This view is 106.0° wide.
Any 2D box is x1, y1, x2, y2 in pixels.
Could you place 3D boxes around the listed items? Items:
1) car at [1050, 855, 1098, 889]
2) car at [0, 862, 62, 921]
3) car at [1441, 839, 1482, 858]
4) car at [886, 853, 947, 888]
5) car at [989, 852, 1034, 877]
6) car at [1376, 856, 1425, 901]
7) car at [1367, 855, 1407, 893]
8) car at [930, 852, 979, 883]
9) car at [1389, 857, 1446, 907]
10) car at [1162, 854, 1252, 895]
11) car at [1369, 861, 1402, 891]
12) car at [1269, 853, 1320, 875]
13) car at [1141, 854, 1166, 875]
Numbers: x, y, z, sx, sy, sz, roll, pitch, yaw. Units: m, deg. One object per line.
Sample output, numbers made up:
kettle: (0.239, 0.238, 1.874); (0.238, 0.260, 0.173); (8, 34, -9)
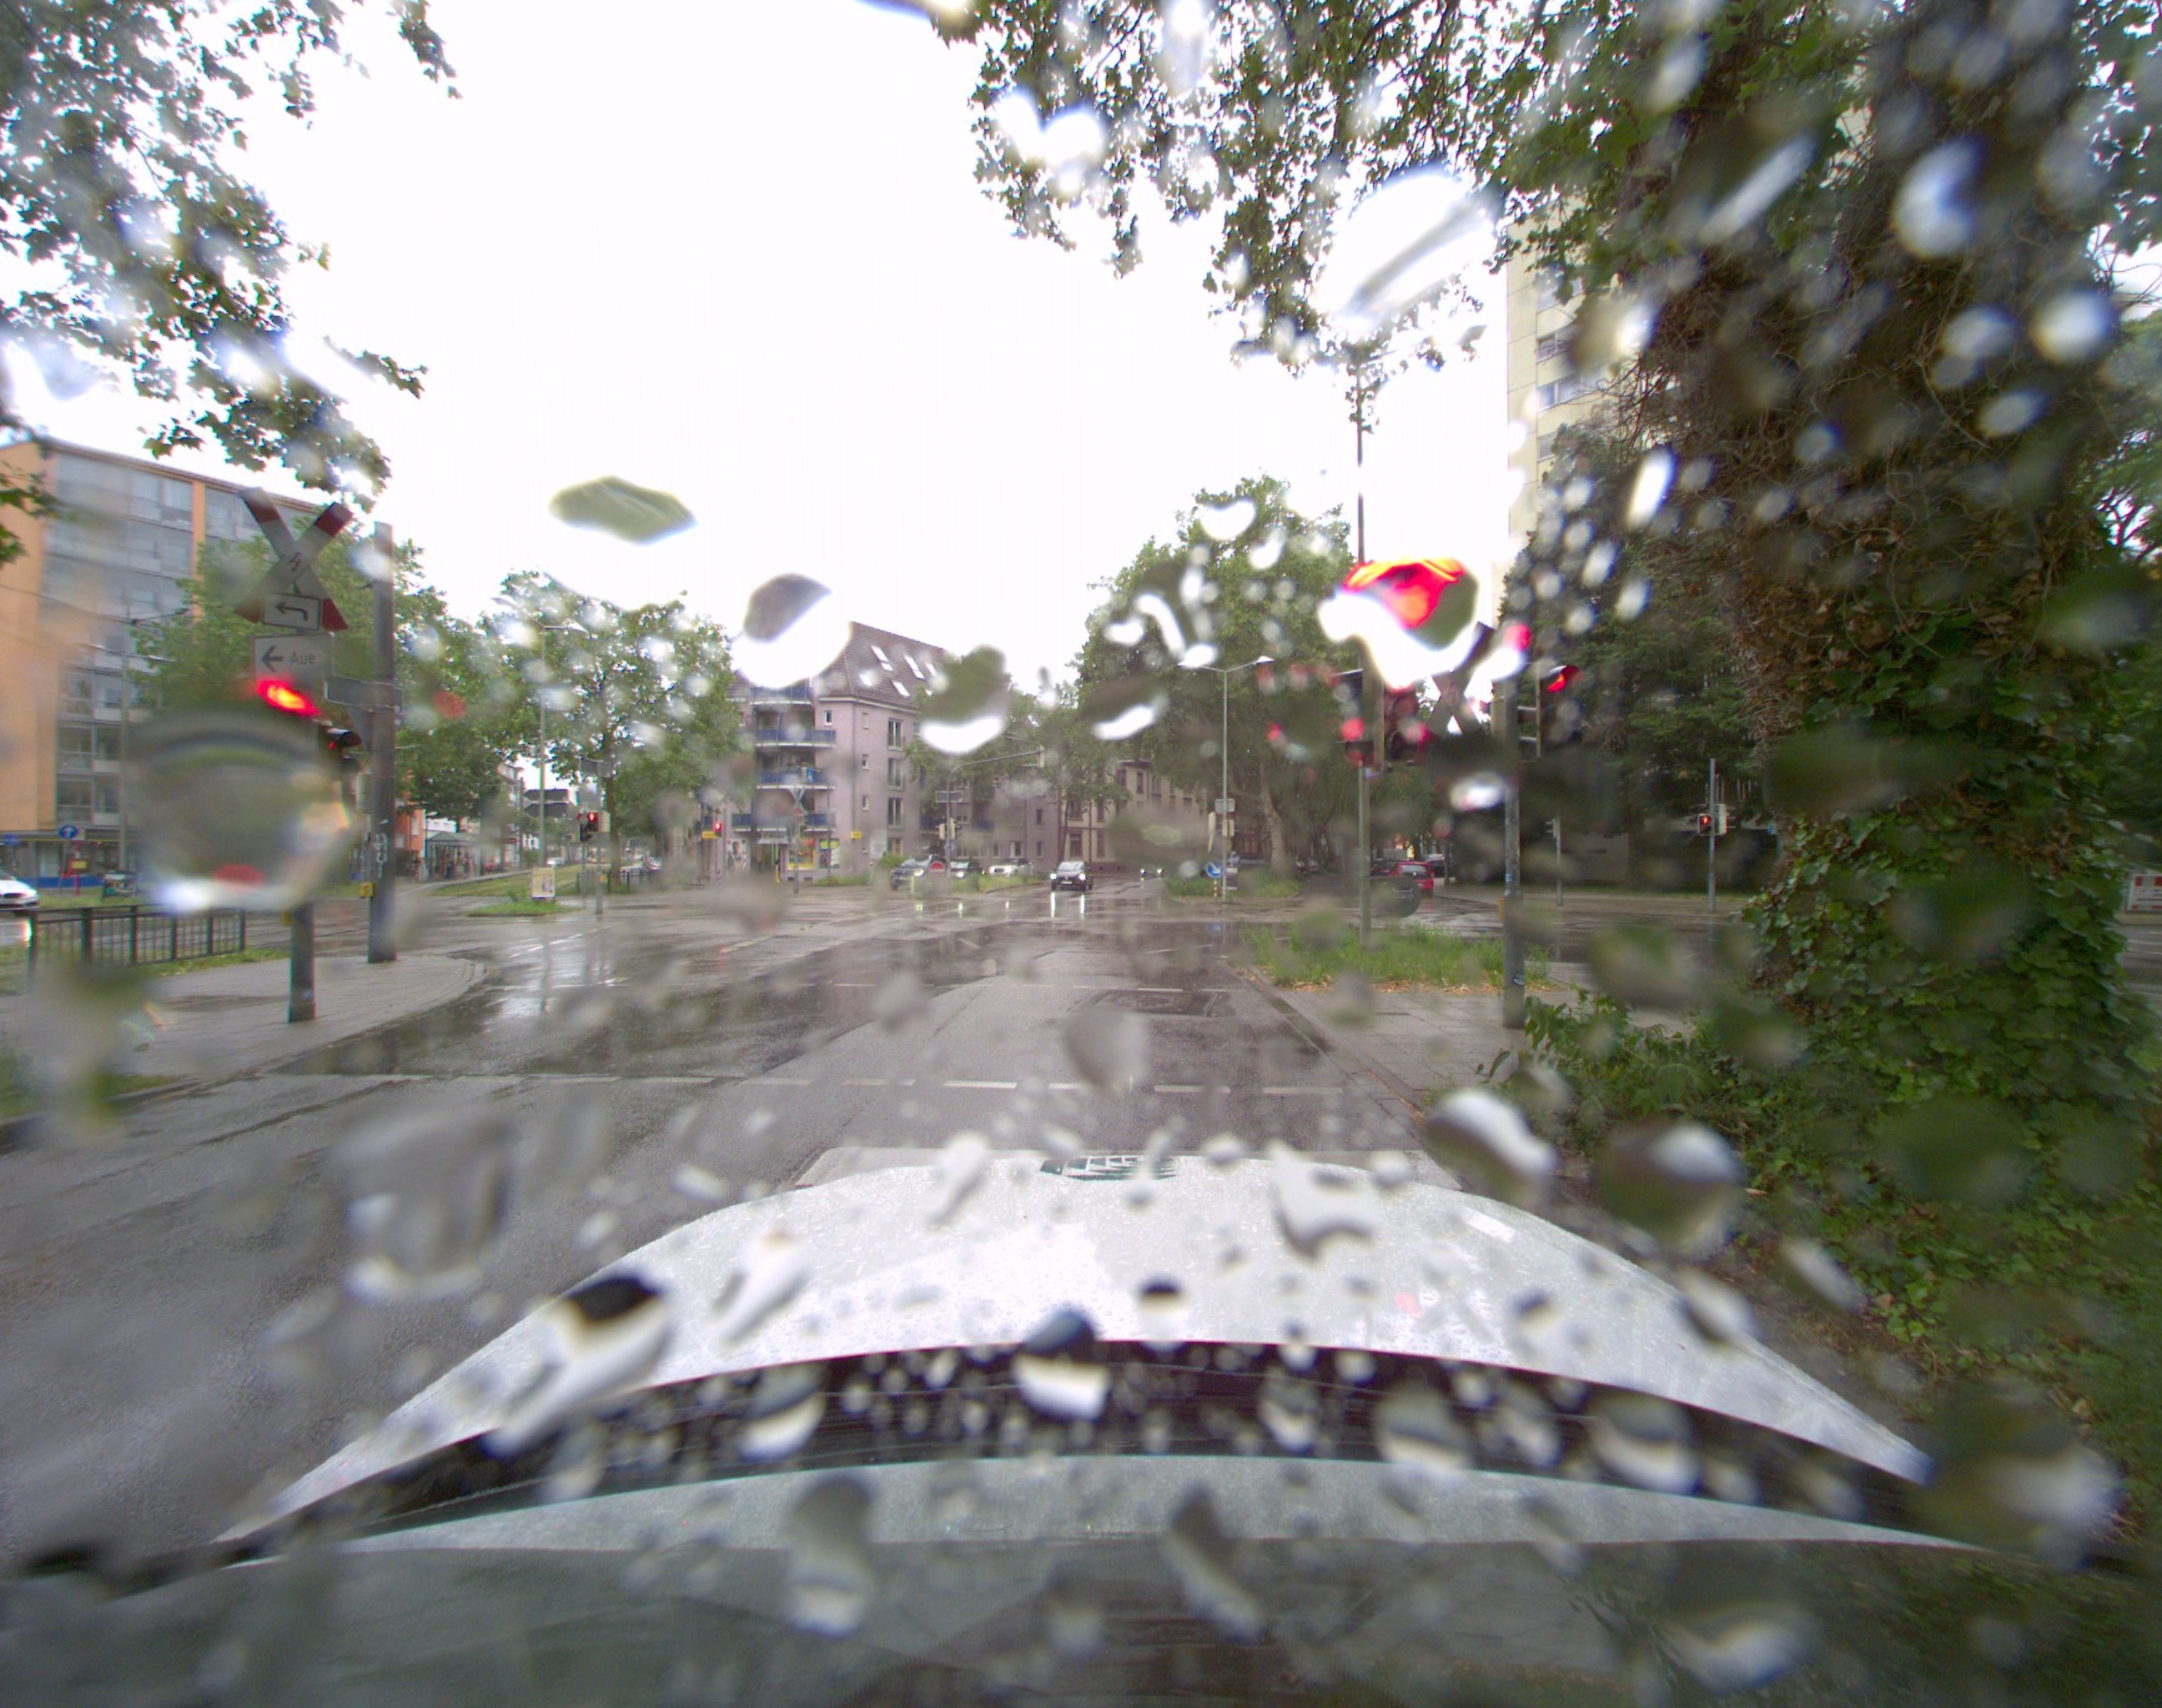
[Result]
car: (-0.299, 0.884, 40.718); (1.591, 1.552, 3.572); (-2, 0, 13)
car: (-32.150, 1.122, 23.431); (3.978, 1.651, 1.980); (-2, 0, 13)
car: (42.564, -0.612, 91.129); (3.953, 2.013, 1.716); (-2, 0, 21)
car: (-7.835, 0.750, 39.112); (1.715, 1.552, 3.567); (-2, 0, 8)
car: (-4.643, 0.665, 54.967); (1.665, 1.552, 4.215); (-2, 0, 14)
car: (15.859, 1.172, 40.619); (1.977, 2.013, 4.019); (-2, 0, 18)
car: (17.812, 1.148, 47.573); (1.977, 2.013, 4.019); (-2, 0, 18)
car: (-6.976, 0.716, 45.270); (1.715, 1.552, 3.567); (-2, 0, 8)
car: (14.889, 1.208, 36.233); (1.977, 2.013, 4.019); (-2, 0, 18)
car: (5.117, 0.817, 33.012); (3.457, 1.523, 1.524); (-2, 0, 10)
car: (22.073, 1.563, 59.186); (1.977, 2.013, 4.019); (-2, 0, 18)
car: (17.145, 0.793, 65.336); (3.571, 1.618, 1.692); (-2, 0, 30)
car: (5.948, 0.830, 66.466); (1.591, 1.552, 3.571); (-2, 0, 12)
